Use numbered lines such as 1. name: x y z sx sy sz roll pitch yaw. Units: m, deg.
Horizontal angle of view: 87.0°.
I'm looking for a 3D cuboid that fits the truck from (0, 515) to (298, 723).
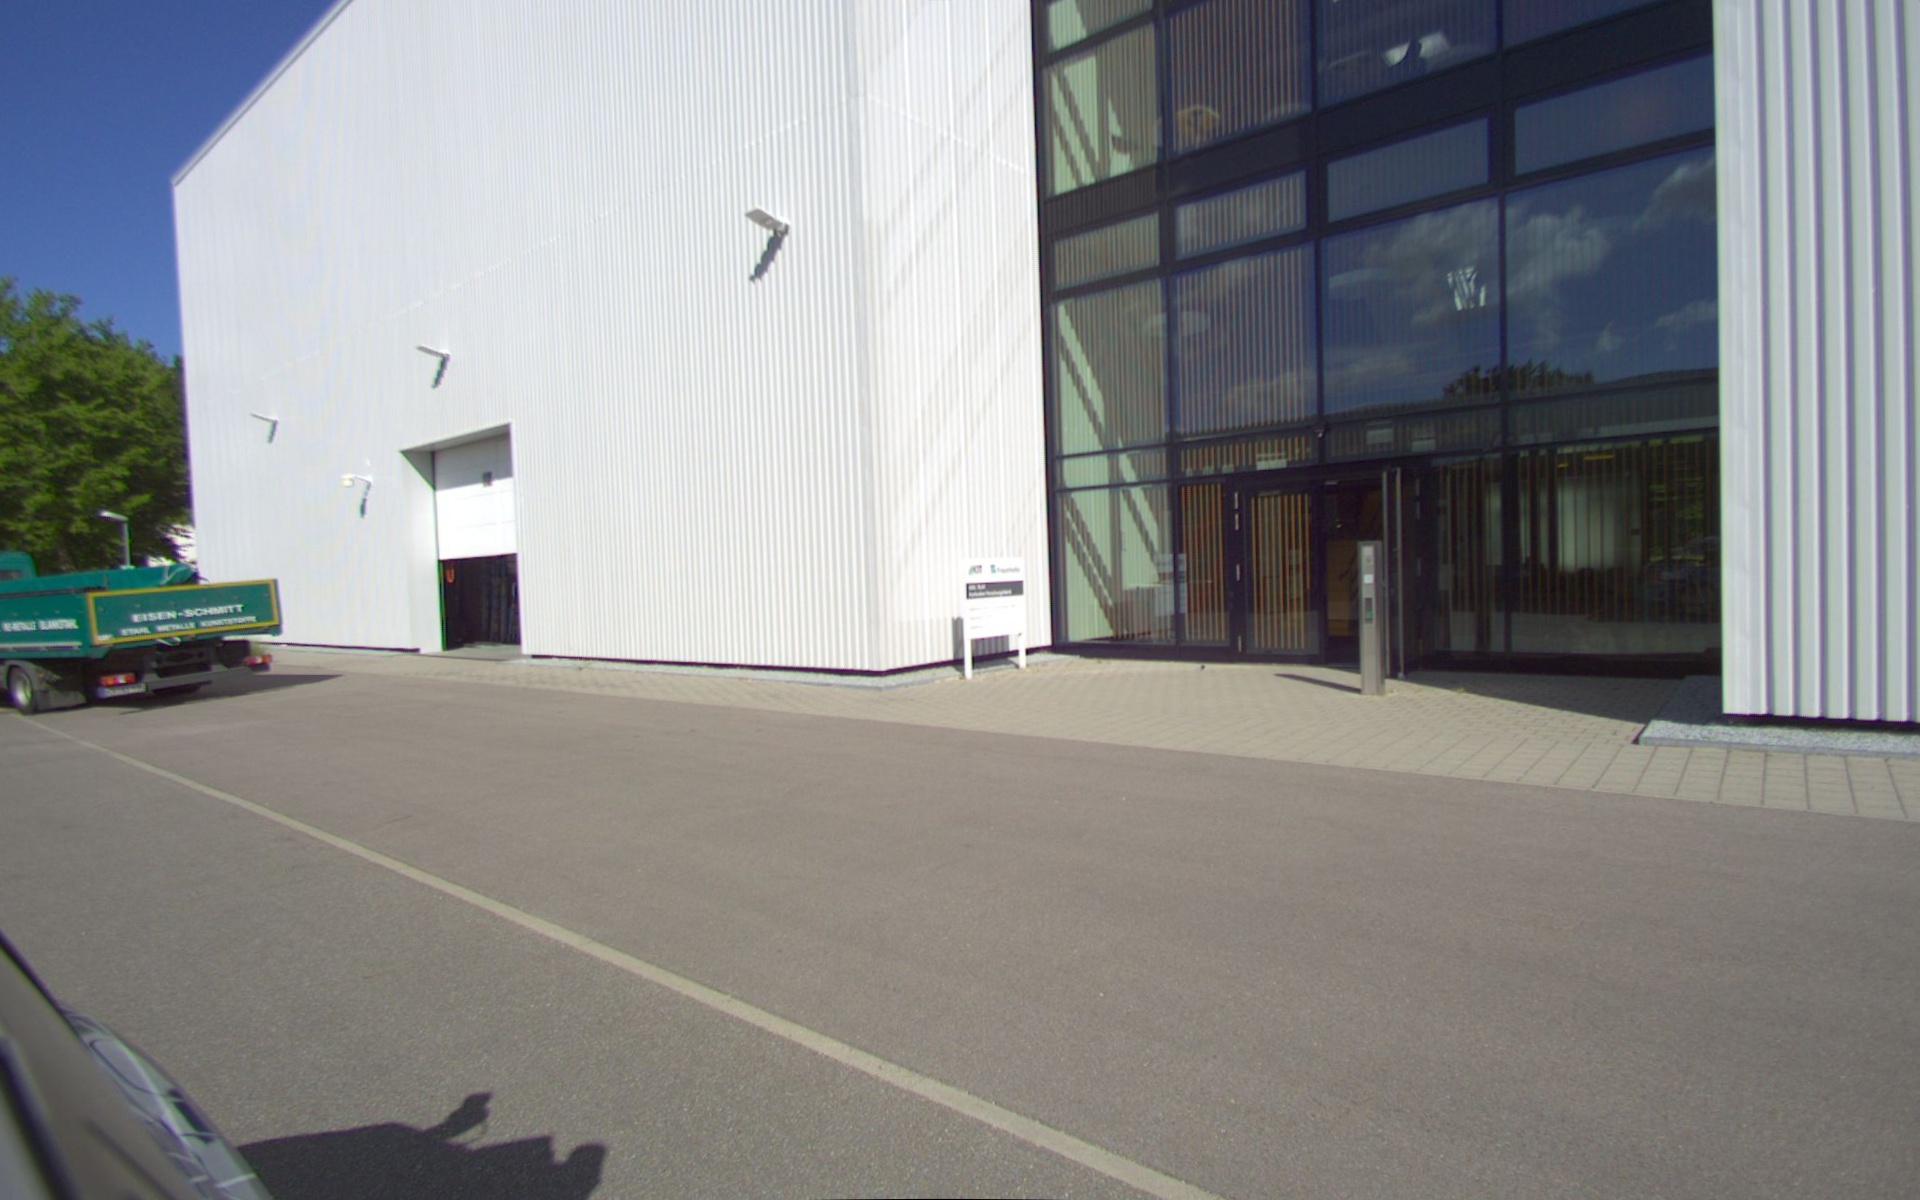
1. truck: -15.166 0.310 16.686 9.648 2.736 2.566 -2 3 28
